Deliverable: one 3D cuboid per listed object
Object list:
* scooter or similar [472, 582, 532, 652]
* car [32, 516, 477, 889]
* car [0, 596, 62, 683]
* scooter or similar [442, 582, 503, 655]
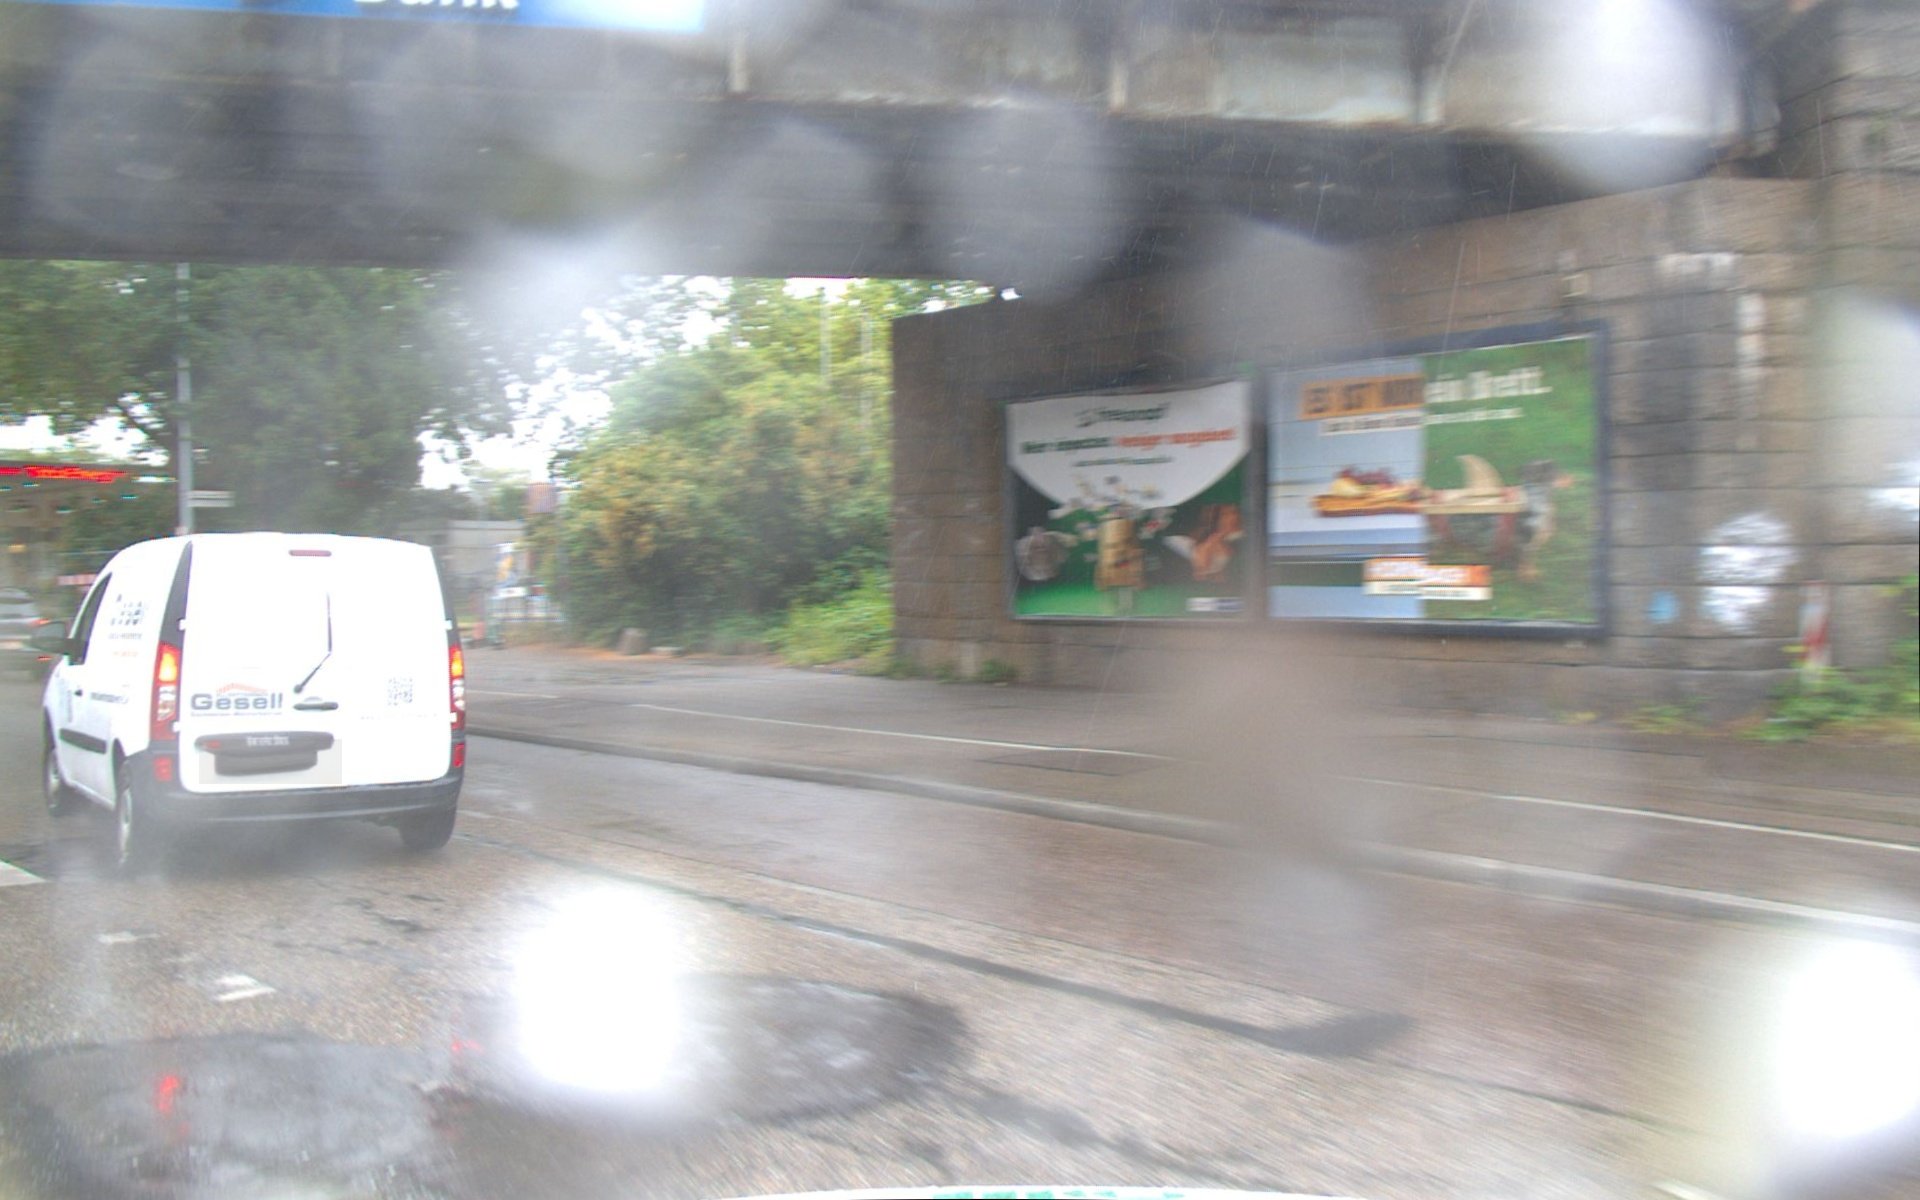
[{"bbox_3d":[-8.579,0.298,30.961,0.761,1.199,1.535,-4,3,-26],"label":"scooter or similar"},{"bbox_3d":[-4.481,0.474,10.158,1.742,1.808,3.950,0,1,-35],"label":"car"},{"bbox_3d":[-15.954,0.627,27.214,1.668,1.306,3.216,-2,2,-36],"label":"car"},{"bbox_3d":[-9.552,0.344,32.471,0.694,1.333,1.557,-5,1,-3],"label":"scooter or similar"}]
